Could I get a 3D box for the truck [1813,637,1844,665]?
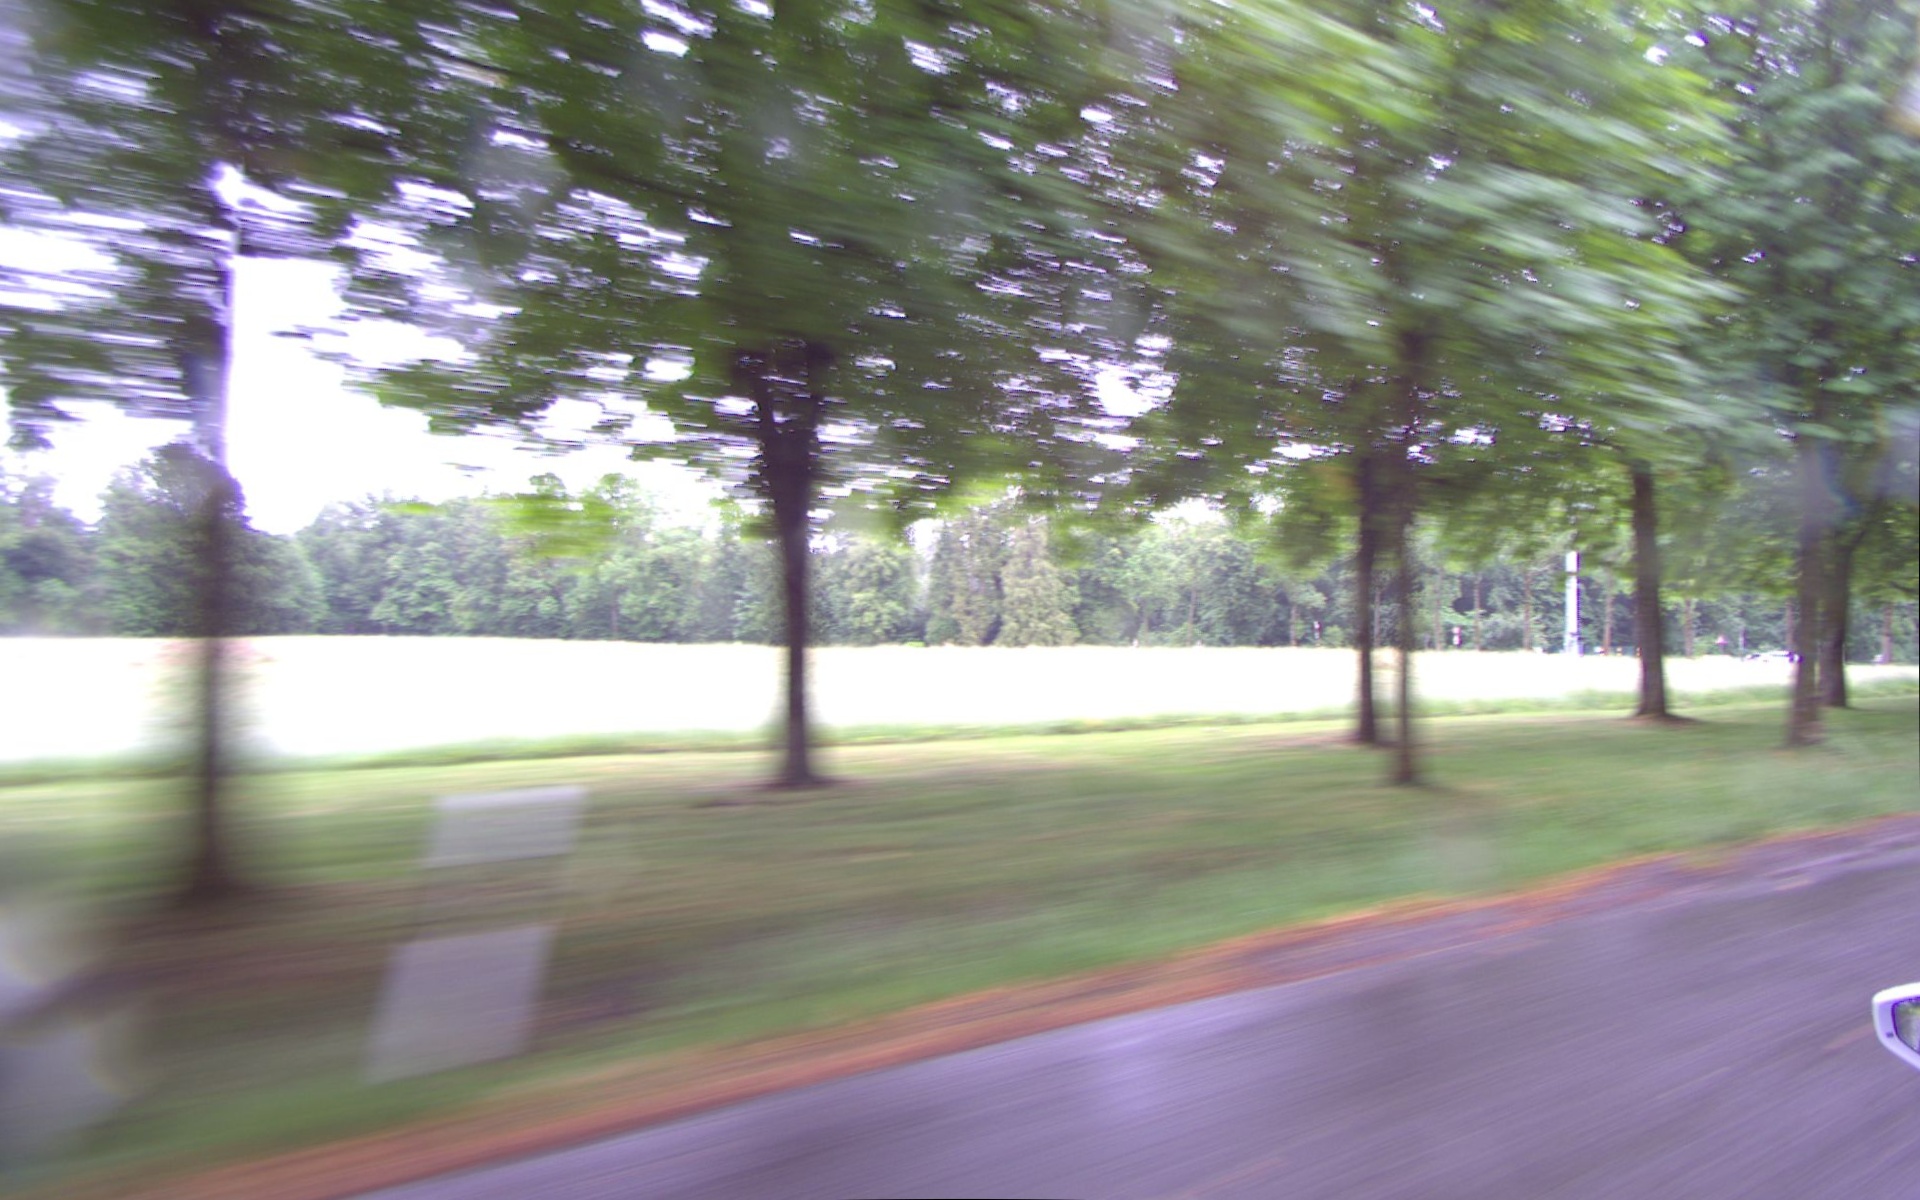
[{"bbox_3d":[78.461,4.587,90.704,3.327,2.474,1.851,3,-3,-44],"label":"truck"}]
